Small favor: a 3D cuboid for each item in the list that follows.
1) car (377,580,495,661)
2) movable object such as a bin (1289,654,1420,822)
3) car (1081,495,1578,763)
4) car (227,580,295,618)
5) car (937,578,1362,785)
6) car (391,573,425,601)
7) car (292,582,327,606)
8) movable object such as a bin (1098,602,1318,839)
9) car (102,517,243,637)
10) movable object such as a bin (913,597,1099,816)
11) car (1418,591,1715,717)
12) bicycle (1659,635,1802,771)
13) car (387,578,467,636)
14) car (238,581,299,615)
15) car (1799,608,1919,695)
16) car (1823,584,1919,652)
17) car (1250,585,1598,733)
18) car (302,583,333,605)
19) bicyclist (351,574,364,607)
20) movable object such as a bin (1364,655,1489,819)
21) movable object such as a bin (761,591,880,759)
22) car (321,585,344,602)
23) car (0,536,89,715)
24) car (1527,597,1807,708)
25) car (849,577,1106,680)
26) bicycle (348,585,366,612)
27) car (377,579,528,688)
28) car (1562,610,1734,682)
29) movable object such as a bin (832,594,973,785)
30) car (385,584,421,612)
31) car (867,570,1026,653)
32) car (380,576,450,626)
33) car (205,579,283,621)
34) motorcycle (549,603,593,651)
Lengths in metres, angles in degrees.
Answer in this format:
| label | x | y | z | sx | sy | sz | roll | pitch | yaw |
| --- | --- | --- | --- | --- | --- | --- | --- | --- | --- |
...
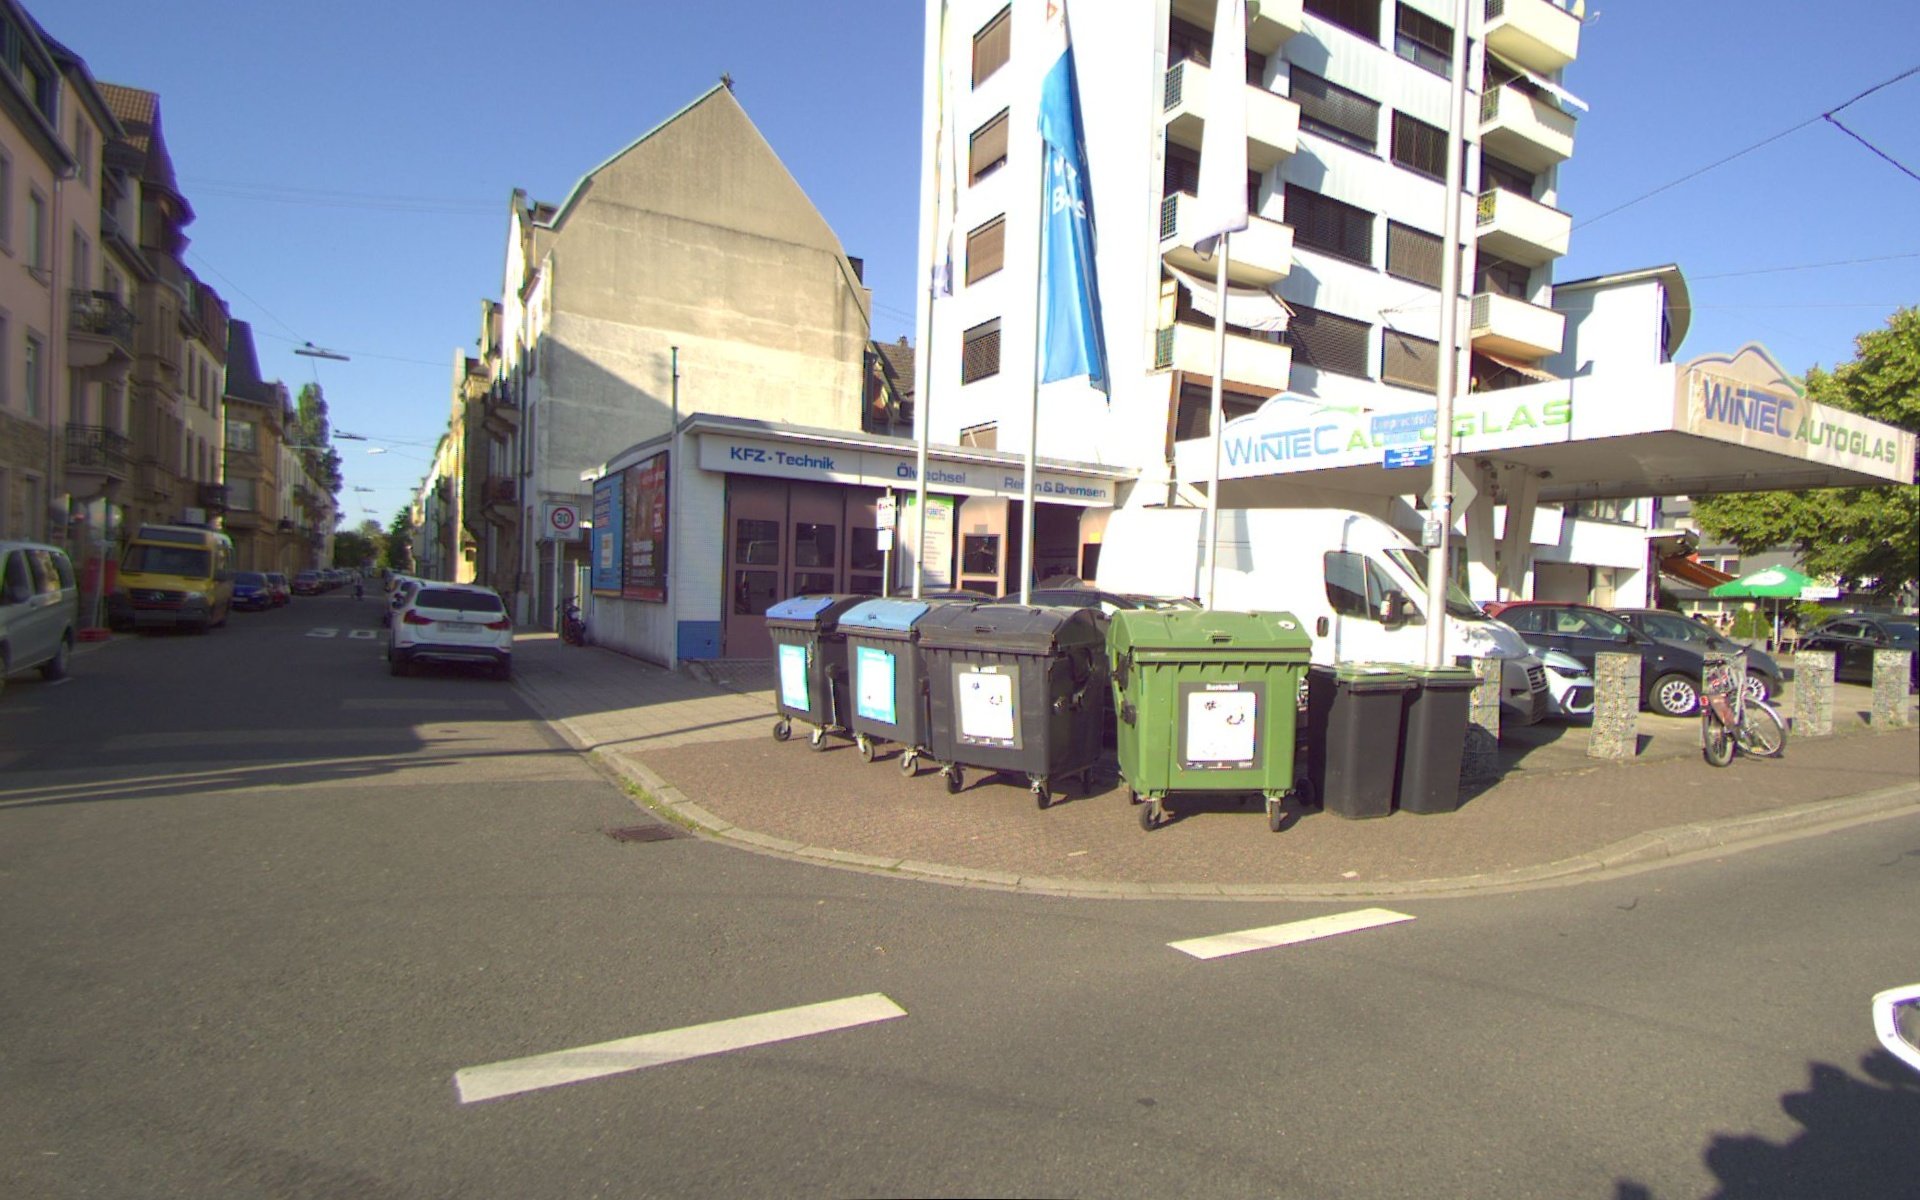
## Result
| label | x | y | z | sx | sy | sz | roll | pitch | yaw |
| --- | --- | --- | --- | --- | --- | --- | --- | --- | --- |
| car | -11.363 | 0.393 | 21.752 | 1.977 | 1.426 | 3.969 | 6 | -2 | -29 |
| movable object such as a bin | 2.852 | 0.971 | 7.301 | 0.575 | 1.077 | 0.660 | 0 | 4 | -17 |
| car | 4.134 | 0.193 | 11.756 | 4.994 | 2.503 | 2.099 | 3 | 1 | 39 |
| car | -31.055 | -0.085 | 44.730 | 1.977 | 1.426 | 3.969 | 6 | -2 | -29 |
| car | 1.744 | 0.639 | 10.214 | 1.760 | 1.589 | 3.948 | 0 | 2 | -43 |
| car | -40.965 | -0.991 | 74.528 | 1.977 | 1.867 | 3.969 | 6 | -2 | -29 |
| car | -44.203 | -0.430 | 68.313 | 1.582 | 1.428 | 3.969 | 6 | -2 | -29 |
| movable object such as a bin | 1.715 | 0.802 | 7.162 | 1.286 | 1.503 | 1.058 | -1 | 2 | -1 |
| car | -20.370 | -0.550 | 26.251 | 2.114 | 2.763 | 6.075 | 1 | 0 | -31 |
| movable object such as a bin | 0.350 | 0.744 | 7.610 | 1.201 | 1.503 | 0.702 | 0 | 3 | 32 |
| car | 8.672 | 0.724 | 14.664 | 3.325 | 1.589 | 1.623 | 2 | 1 | 14 |
| bicycle | 7.685 | 0.968 | 9.995 | 1.766 | 1.193 | 0.717 | 1 | 1 | -39 |
| car | -16.870 | 0.183 | 31.774 | 1.977 | 1.545 | 3.969 | 6 | -2 | -29 |
| car | -33.840 | -0.135 | 49.272 | 1.977 | 1.426 | 3.969 | 6 | -2 | -29 |
| car | 18.749 | 0.972 | 19.698 | 1.872 | 1.474 | 4.314 | 2 | 2 | 16 |
| car | 22.289 | 0.408 | 23.280 | 1.617 | 1.474 | 4.301 | 2 | 2 | 13 |
| car | 6.082 | 0.656 | 13.333 | 3.930 | 1.589 | 1.768 | 3 | 2 | 32 |
| car | -46.896 | -0.464 | 73.382 | 1.582 | 1.428 | 3.969 | 6 | -2 | -29 |
| bicyclist | -33.354 | -0.528 | 55.589 | 0.553 | 1.791 | 0.577 | 1 | 0 | -33 |
| movable object such as a bin | 3.471 | 0.994 | 7.502 | 0.570 | 1.084 | 0.639 | -2 | 2 | -17 |
| movable object such as a bin | -1.386 | 0.681 | 9.868 | 0.696 | 1.503 | 1.170 | -3 | 3 | -34 |
| car | -60.119 | -0.641 | 96.304 | 1.582 | 1.428 | 3.969 | 6 | -2 | -29 |
| car | -12.413 | 0.214 | 12.280 | 1.979 | 1.920 | 4.930 | 1 | 0 | -33 |
| car | 11.426 | 0.799 | 16.443 | 3.324 | 1.589 | 1.623 | 2 | 1 | 9 |
| car | 0.355 | 0.459 | 17.806 | 4.266 | 1.589 | 1.758 | 1 | 2 | -31 |
| bicycle | -33.217 | -0.097 | 55.360 | 0.815 | 1.433 | 2.343 | 1 | 0 | -31 |
| car | -8.863 | 0.515 | 17.459 | 1.977 | 1.545 | 3.969 | 6 | -2 | -29 |
| car | 14.452 | 0.905 | 21.039 | 4.096 | 1.301 | 1.577 | 0 | 1 | -34 |
| movable object such as a bin | -0.522 | 0.715 | 8.770 | 0.696 | 1.503 | 1.210 | -3 | 3 | -34 |
| car | -38.299 | -0.155 | 69.072 | 1.977 | 1.634 | 3.969 | 6 | -2 | -29 |
| car | -0.430 | 0.199 | 23.868 | 1.754 | 1.733 | 4.276 | 0 | 2 | -33 |
| car | -19.697 | 0.017 | 36.314 | 1.977 | 1.545 | 3.969 | 6 | -2 | -29 |
| car | -28.499 | -0.036 | 40.095 | 1.977 | 1.426 | 3.969 | 6 | -2 | -29 |
| motorcycle | -9.416 | 0.637 | 24.292 | 0.531 | 1.032 | 2.043 | 2 | 1 | -34 |
